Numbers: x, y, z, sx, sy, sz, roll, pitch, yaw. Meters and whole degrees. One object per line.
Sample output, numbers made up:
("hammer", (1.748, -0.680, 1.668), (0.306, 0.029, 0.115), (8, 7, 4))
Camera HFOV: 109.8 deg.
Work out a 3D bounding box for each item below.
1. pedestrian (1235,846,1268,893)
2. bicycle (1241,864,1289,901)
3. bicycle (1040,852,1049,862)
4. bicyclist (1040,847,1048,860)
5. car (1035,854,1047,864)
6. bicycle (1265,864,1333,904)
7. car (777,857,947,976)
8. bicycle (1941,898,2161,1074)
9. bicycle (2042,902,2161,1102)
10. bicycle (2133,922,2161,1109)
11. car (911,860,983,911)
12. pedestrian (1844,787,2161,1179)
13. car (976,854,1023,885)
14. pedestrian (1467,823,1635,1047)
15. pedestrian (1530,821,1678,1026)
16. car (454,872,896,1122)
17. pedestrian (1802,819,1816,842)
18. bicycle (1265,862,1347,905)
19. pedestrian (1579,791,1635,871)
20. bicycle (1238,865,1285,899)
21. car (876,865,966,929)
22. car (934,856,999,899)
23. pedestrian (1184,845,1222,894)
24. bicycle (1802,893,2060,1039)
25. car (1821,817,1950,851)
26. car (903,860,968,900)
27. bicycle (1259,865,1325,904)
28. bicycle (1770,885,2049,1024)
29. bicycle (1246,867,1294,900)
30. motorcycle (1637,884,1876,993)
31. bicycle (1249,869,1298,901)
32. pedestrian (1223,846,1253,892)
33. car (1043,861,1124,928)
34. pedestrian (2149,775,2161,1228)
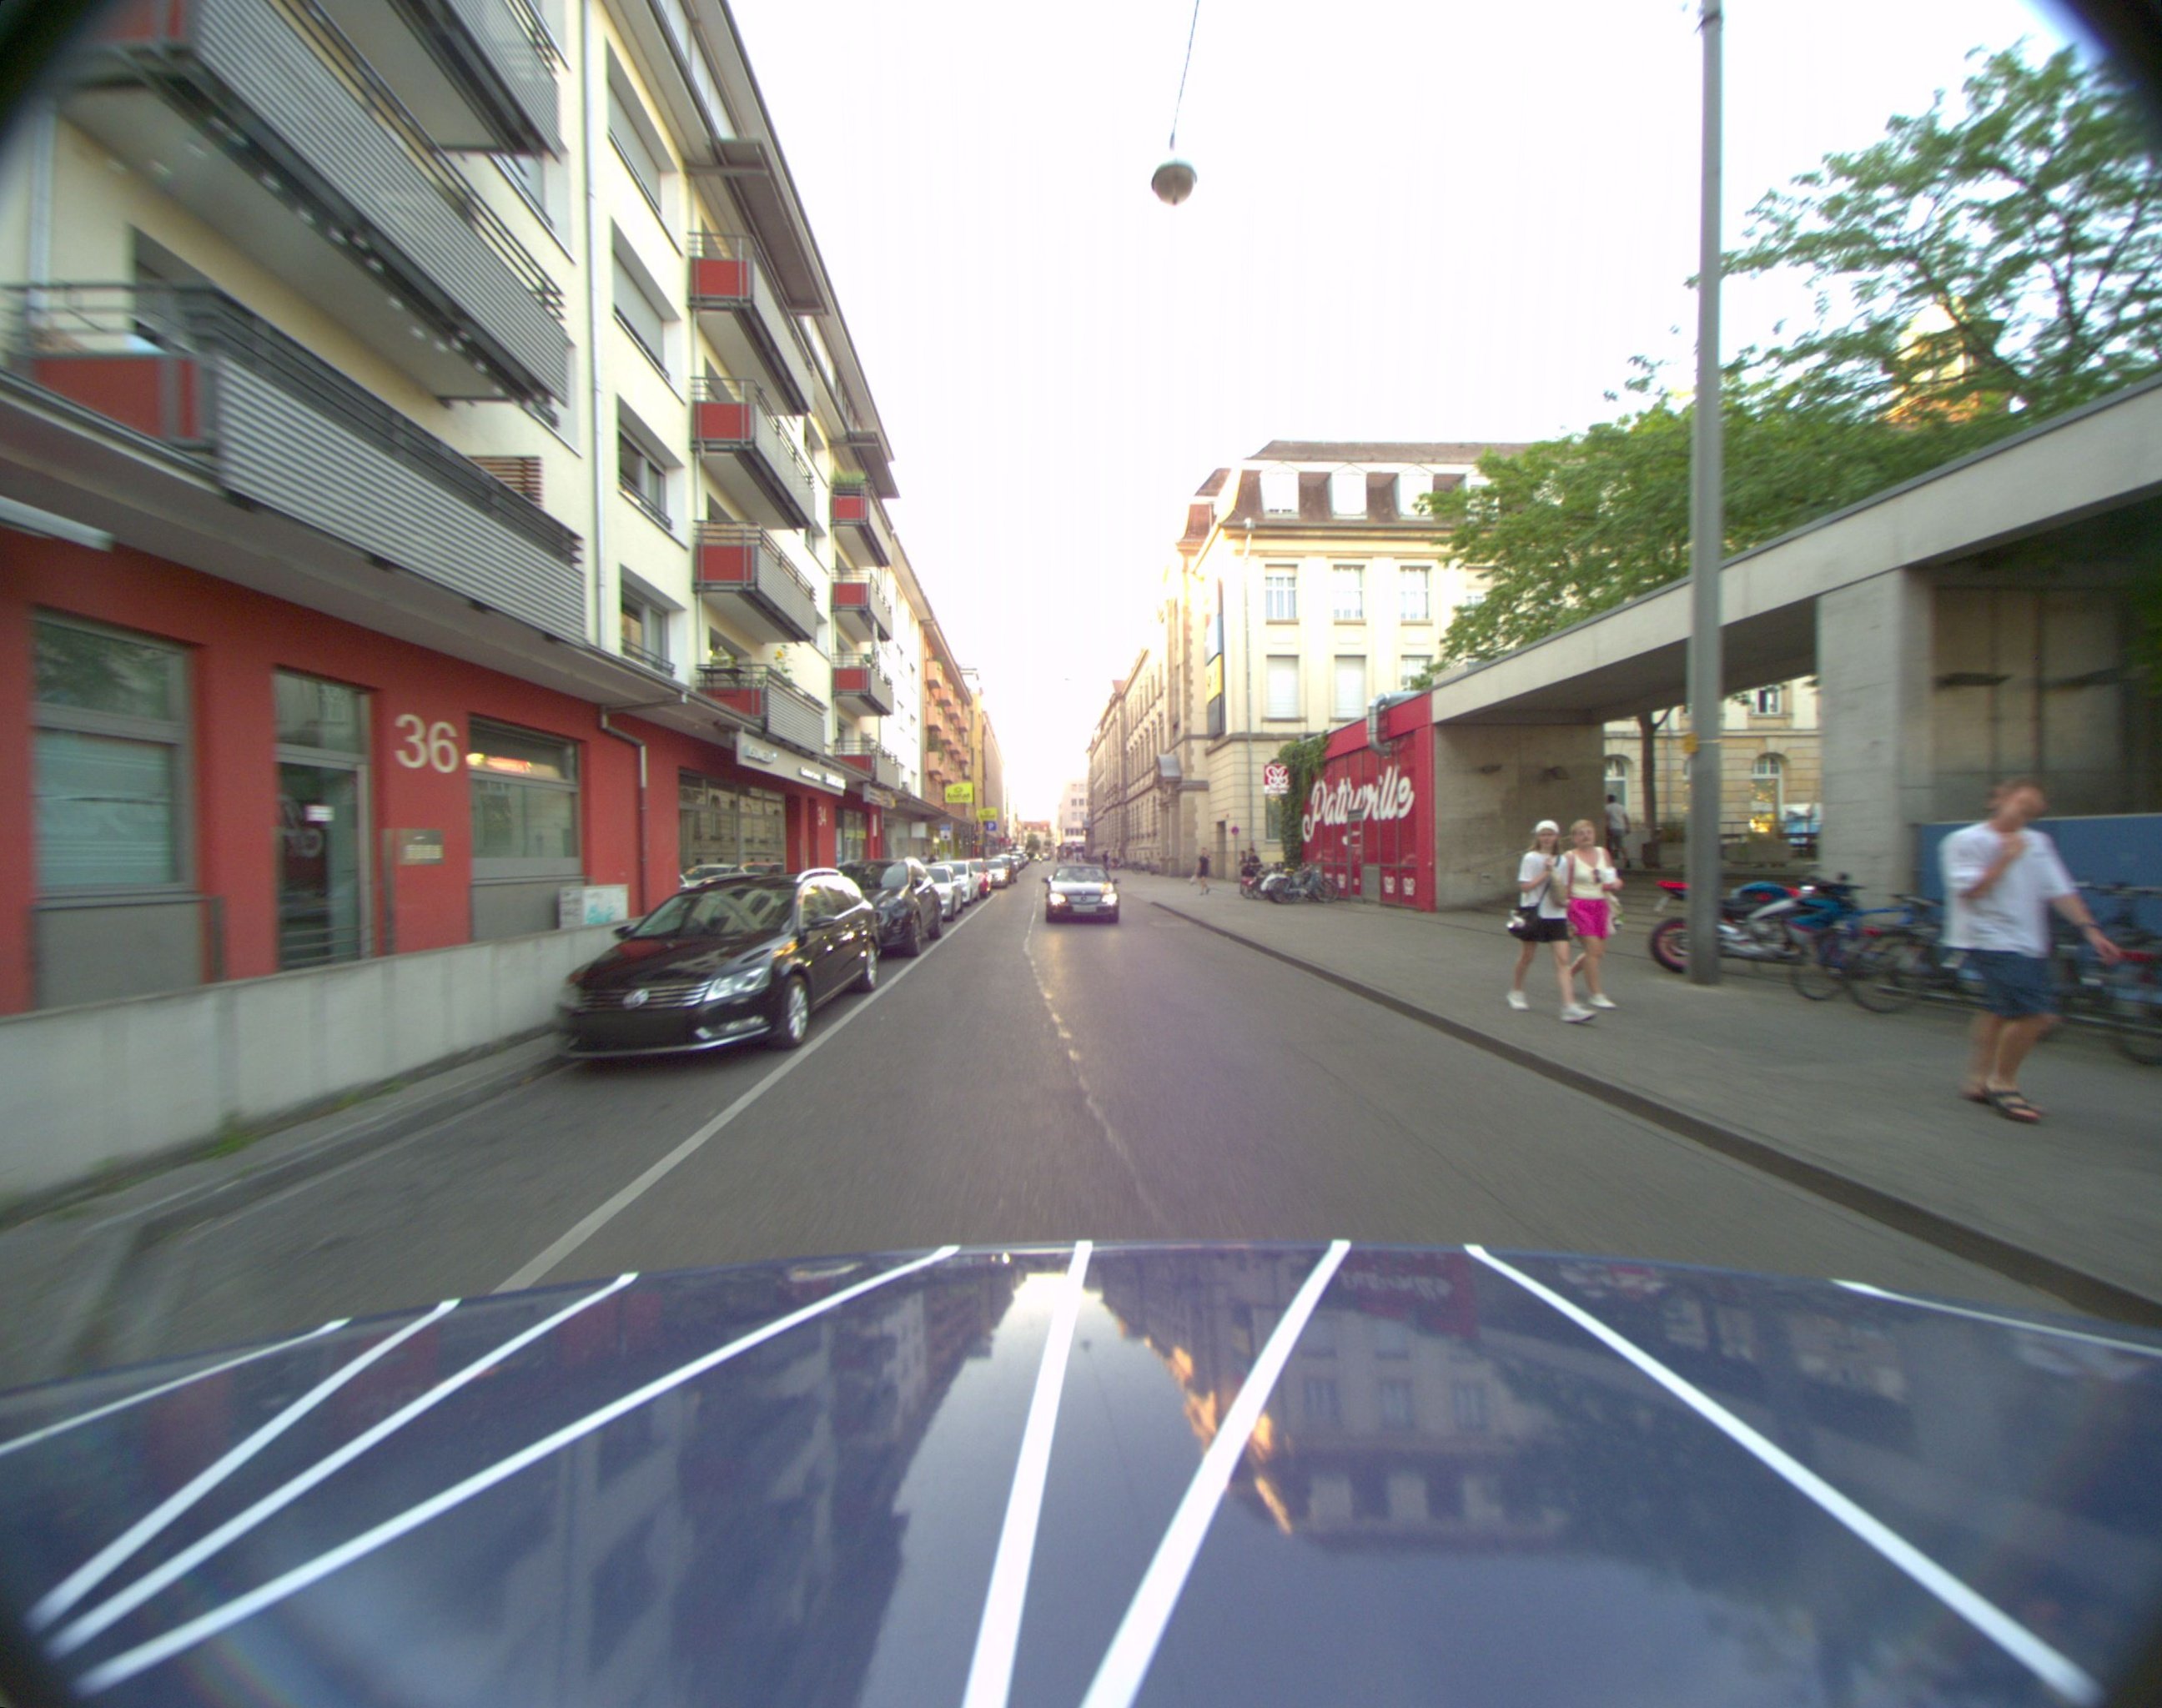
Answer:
("pedestrian", (6.354, 0.570, 28.288), (0.921, 1.716, 0.833), (-2, 1, -10))
("bicycle", (6.113, 0.935, 25.225), (1.501, 1.134, 0.312), (-2, 1, -11))
("bicycle", (-5.641, 0.435, 117.530), (1.038, 1.513, 2.822), (-1, 1, 2))
("bicyclist", (-5.701, -0.024, 117.423), (1.045, 2.002, 1.182), (-1, 1, -1))
("car", (-8.149, 0.983, 154.680), (1.998, 2.002, 4.000), (-1, 1, 2))
("bicycle", (6.375, 0.881, 22.229), (1.844, 1.077, 0.354), (-2, 1, 3))
("car", (-3.635, 0.942, 13.430), (1.884, 1.689, 4.136), (-2, 0, -2))
("bicycle", (6.976, 0.898, 5.349), (1.497, 1.081, 0.411), (-2, 1, -6))
("bicycle", (6.906, 0.867, 4.720), (1.497, 1.105, 0.411), (-2, 1, -6))
("bicycle", (6.960, 0.908, 4.325), (1.497, 1.063, 0.442), (-2, 1, -6))
("car", (-4.375, 0.991, 25.351), (1.768, 1.468, 3.947), (-2, 0, -2))
("pedestrian", (4.917, 0.585, 3.936), (0.984, 1.783, 0.890), (-2, 1, -1))
("car", (-4.580, 0.826, 43.185), (1.998, 1.607, 4.367), (-2, 0, 2))
("pedestrian", (4.024, 0.654, 6.580), (0.851, 1.783, 0.869), (-2, 1, -1))
("pedestrian", (4.842, 0.617, 7.082), (0.811, 1.783, 0.736), (-2, 1, -1))
("car", (-3.362, 1.041, 7.561), (1.879, 1.543, 4.630), (-2, 0, -1))
("pedestrian", (65.619, -2.130, 68.482), (0.916, 2.002, 0.916), (0, 2, 44))
("bicycle", (6.455, 0.846, 21.864), (2.180, 1.149, 0.446), (-2, 1, 3))
("pedestrian", (12.561, -0.535, 18.137), (0.943, 1.816, 0.834), (-2, 1, 42))
("bicycle", (6.079, 0.926, 25.568), (1.501, 1.070, 0.312), (-2, 1, -11))
("car", (-4.086, 1.037, 19.974), (1.753, 1.395, 3.965), (-2, 0, -5))
("car", (-4.396, 0.861, 29.783), (1.867, 1.468, 4.394), (-2, 0, -1))
("pedestrian", (4.680, 0.583, 29.211), (1.009, 1.816, 0.944), (-3, 1, -26))
("bicycle", (6.876, 0.898, 6.187), (1.496, 1.081, 0.436), (-2, 1, 4))
("car", (46.238, -1.115, 43.802), (4.608, 1.642, 2.101), (-2, -1, 16))
("car", (-6.089, 1.048, 32.192), (1.897, 1.468, 4.300), (-2, 0, -1))
("bicycle", (6.284, 0.920, 22.679), (1.844, 1.076, 0.354), (-2, 1, 3))
("bicycle", (7.282, 0.865, 6.721), (1.872, 1.081, 0.550), (-2, 1, -1))
("bicycle", (6.187, 0.960, 24.909), (1.501, 0.973, 0.312), (-2, 1, -11))
("motorcycle", (7.186, 0.887, 8.197), (1.824, 1.062, 0.534), (-2, 0, 26))
("bicycle", (6.226, 1.006, 24.600), (1.501, 0.950, 0.312), (-2, 1, -11))
("pedestrian", (6.011, 0.583, 29.087), (0.920, 1.716, 0.702), (-2, 1, -8))
("car", (0.033, 0.921, 19.219), (1.809, 1.399, 4.616), (0, 1, -1))
("pedestrian", (4.934, 0.595, 2.703), (0.984, 1.872, 0.890), (-2, 1, -1))
